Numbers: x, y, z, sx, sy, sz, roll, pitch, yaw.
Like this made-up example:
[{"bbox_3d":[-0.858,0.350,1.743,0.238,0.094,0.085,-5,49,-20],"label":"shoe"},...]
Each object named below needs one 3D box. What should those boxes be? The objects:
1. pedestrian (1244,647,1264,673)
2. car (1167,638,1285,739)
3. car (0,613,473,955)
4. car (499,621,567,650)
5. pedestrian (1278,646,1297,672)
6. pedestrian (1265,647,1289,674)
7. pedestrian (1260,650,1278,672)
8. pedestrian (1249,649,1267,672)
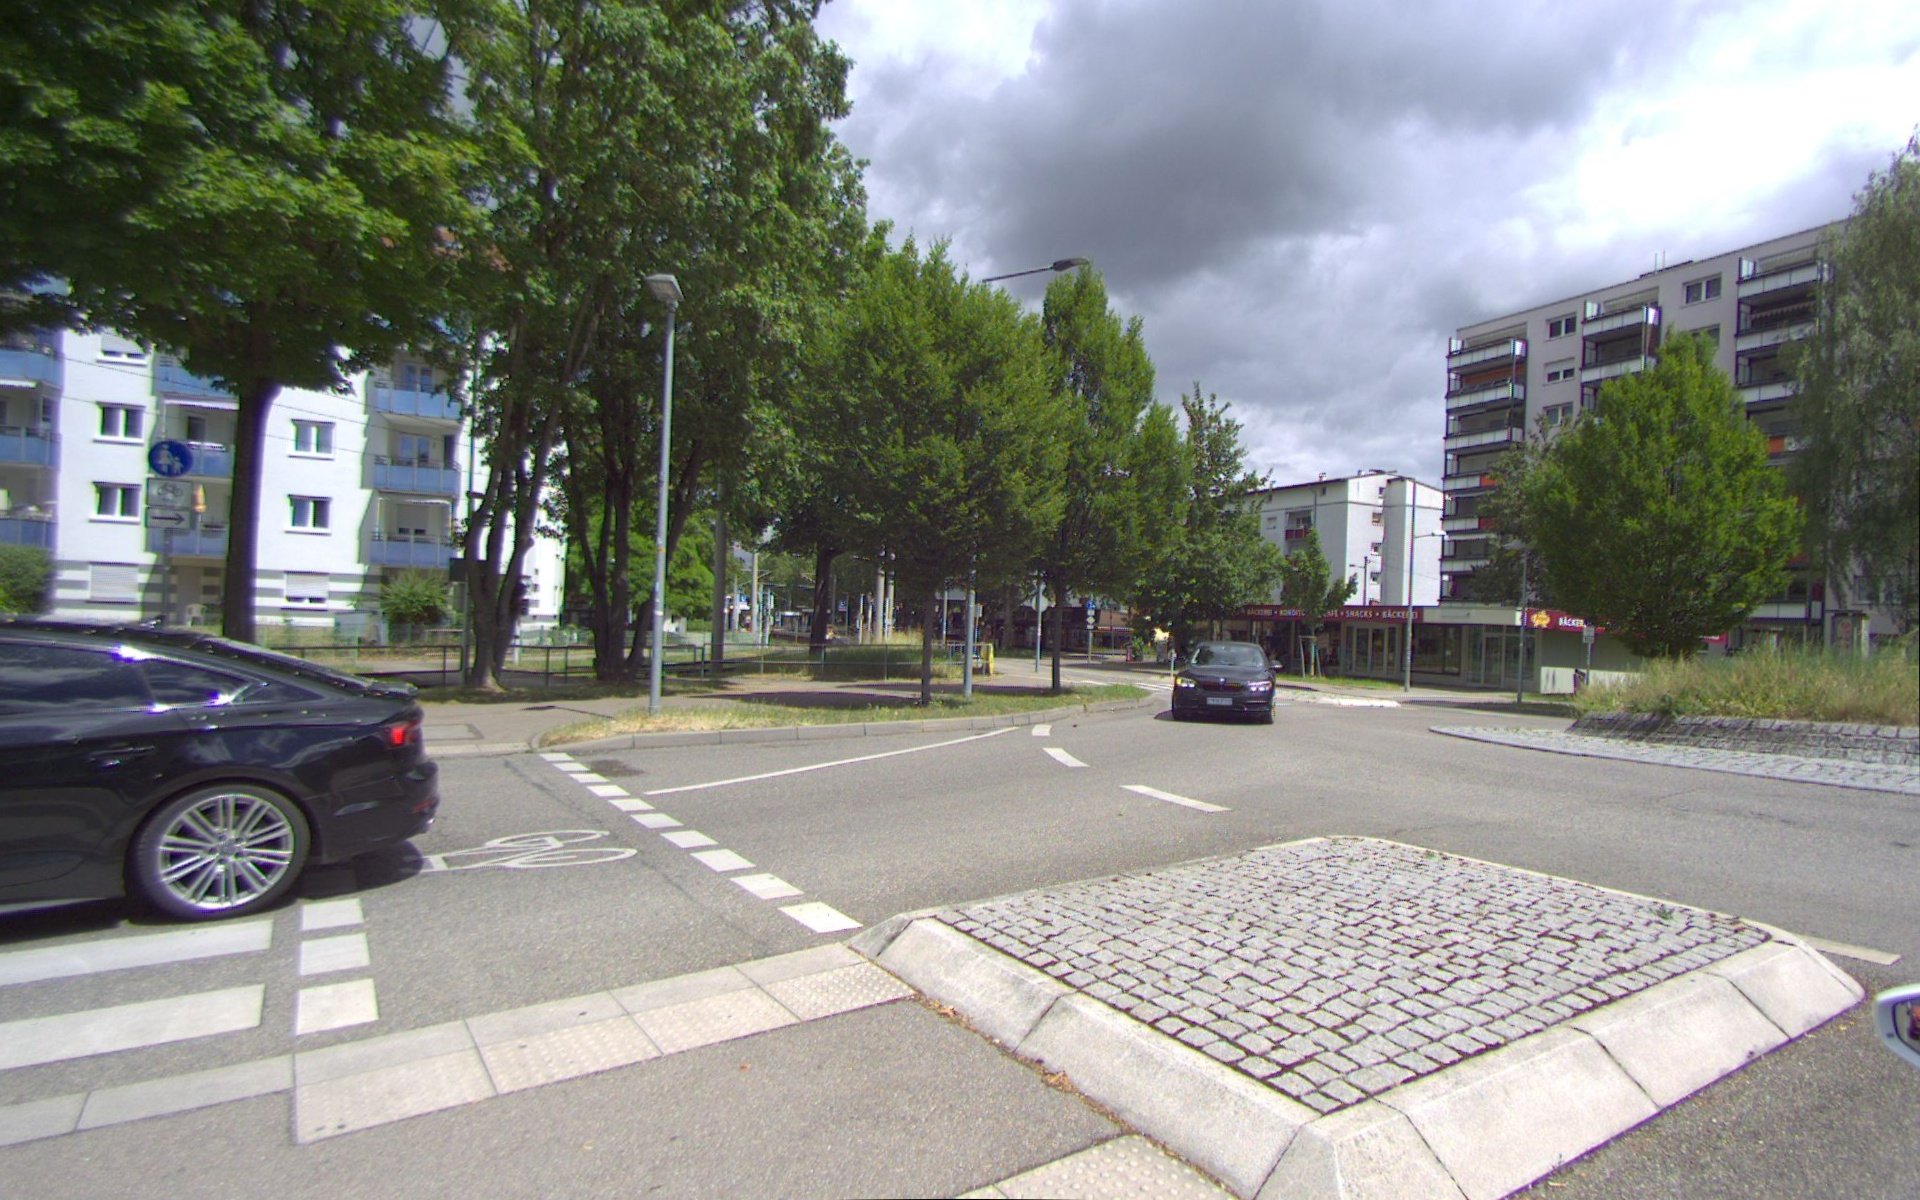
[{"bbox_3d":[16.072,3.276,54.907,0.866,1.342,0.608,2,-2,-17],"label":"pedestrian"},{"bbox_3d":[5.131,1.553,18.984,1.822,1.474,4.389,3,0,18],"label":"car"},{"bbox_3d":[-4.919,0.752,4.544,4.581,1.402,1.802,3,-2,-40],"label":"car"},{"bbox_3d":[-27.999,2.335,66.006,3.939,1.832,1.991,2,-2,-20],"label":"car"},{"bbox_3d":[17.887,3.207,54.808,0.709,1.399,0.696,2,-2,-19],"label":"pedestrian"},{"bbox_3d":[17.143,3.272,54.391,0.869,1.342,0.817,2,1,-26],"label":"pedestrian"},{"bbox_3d":[17.188,3.392,55.946,0.707,1.217,0.697,2,-2,-12],"label":"pedestrian"},{"bbox_3d":[16.581,3.365,55.912,0.707,1.217,0.697,2,-2,-12],"label":"pedestrian"}]
